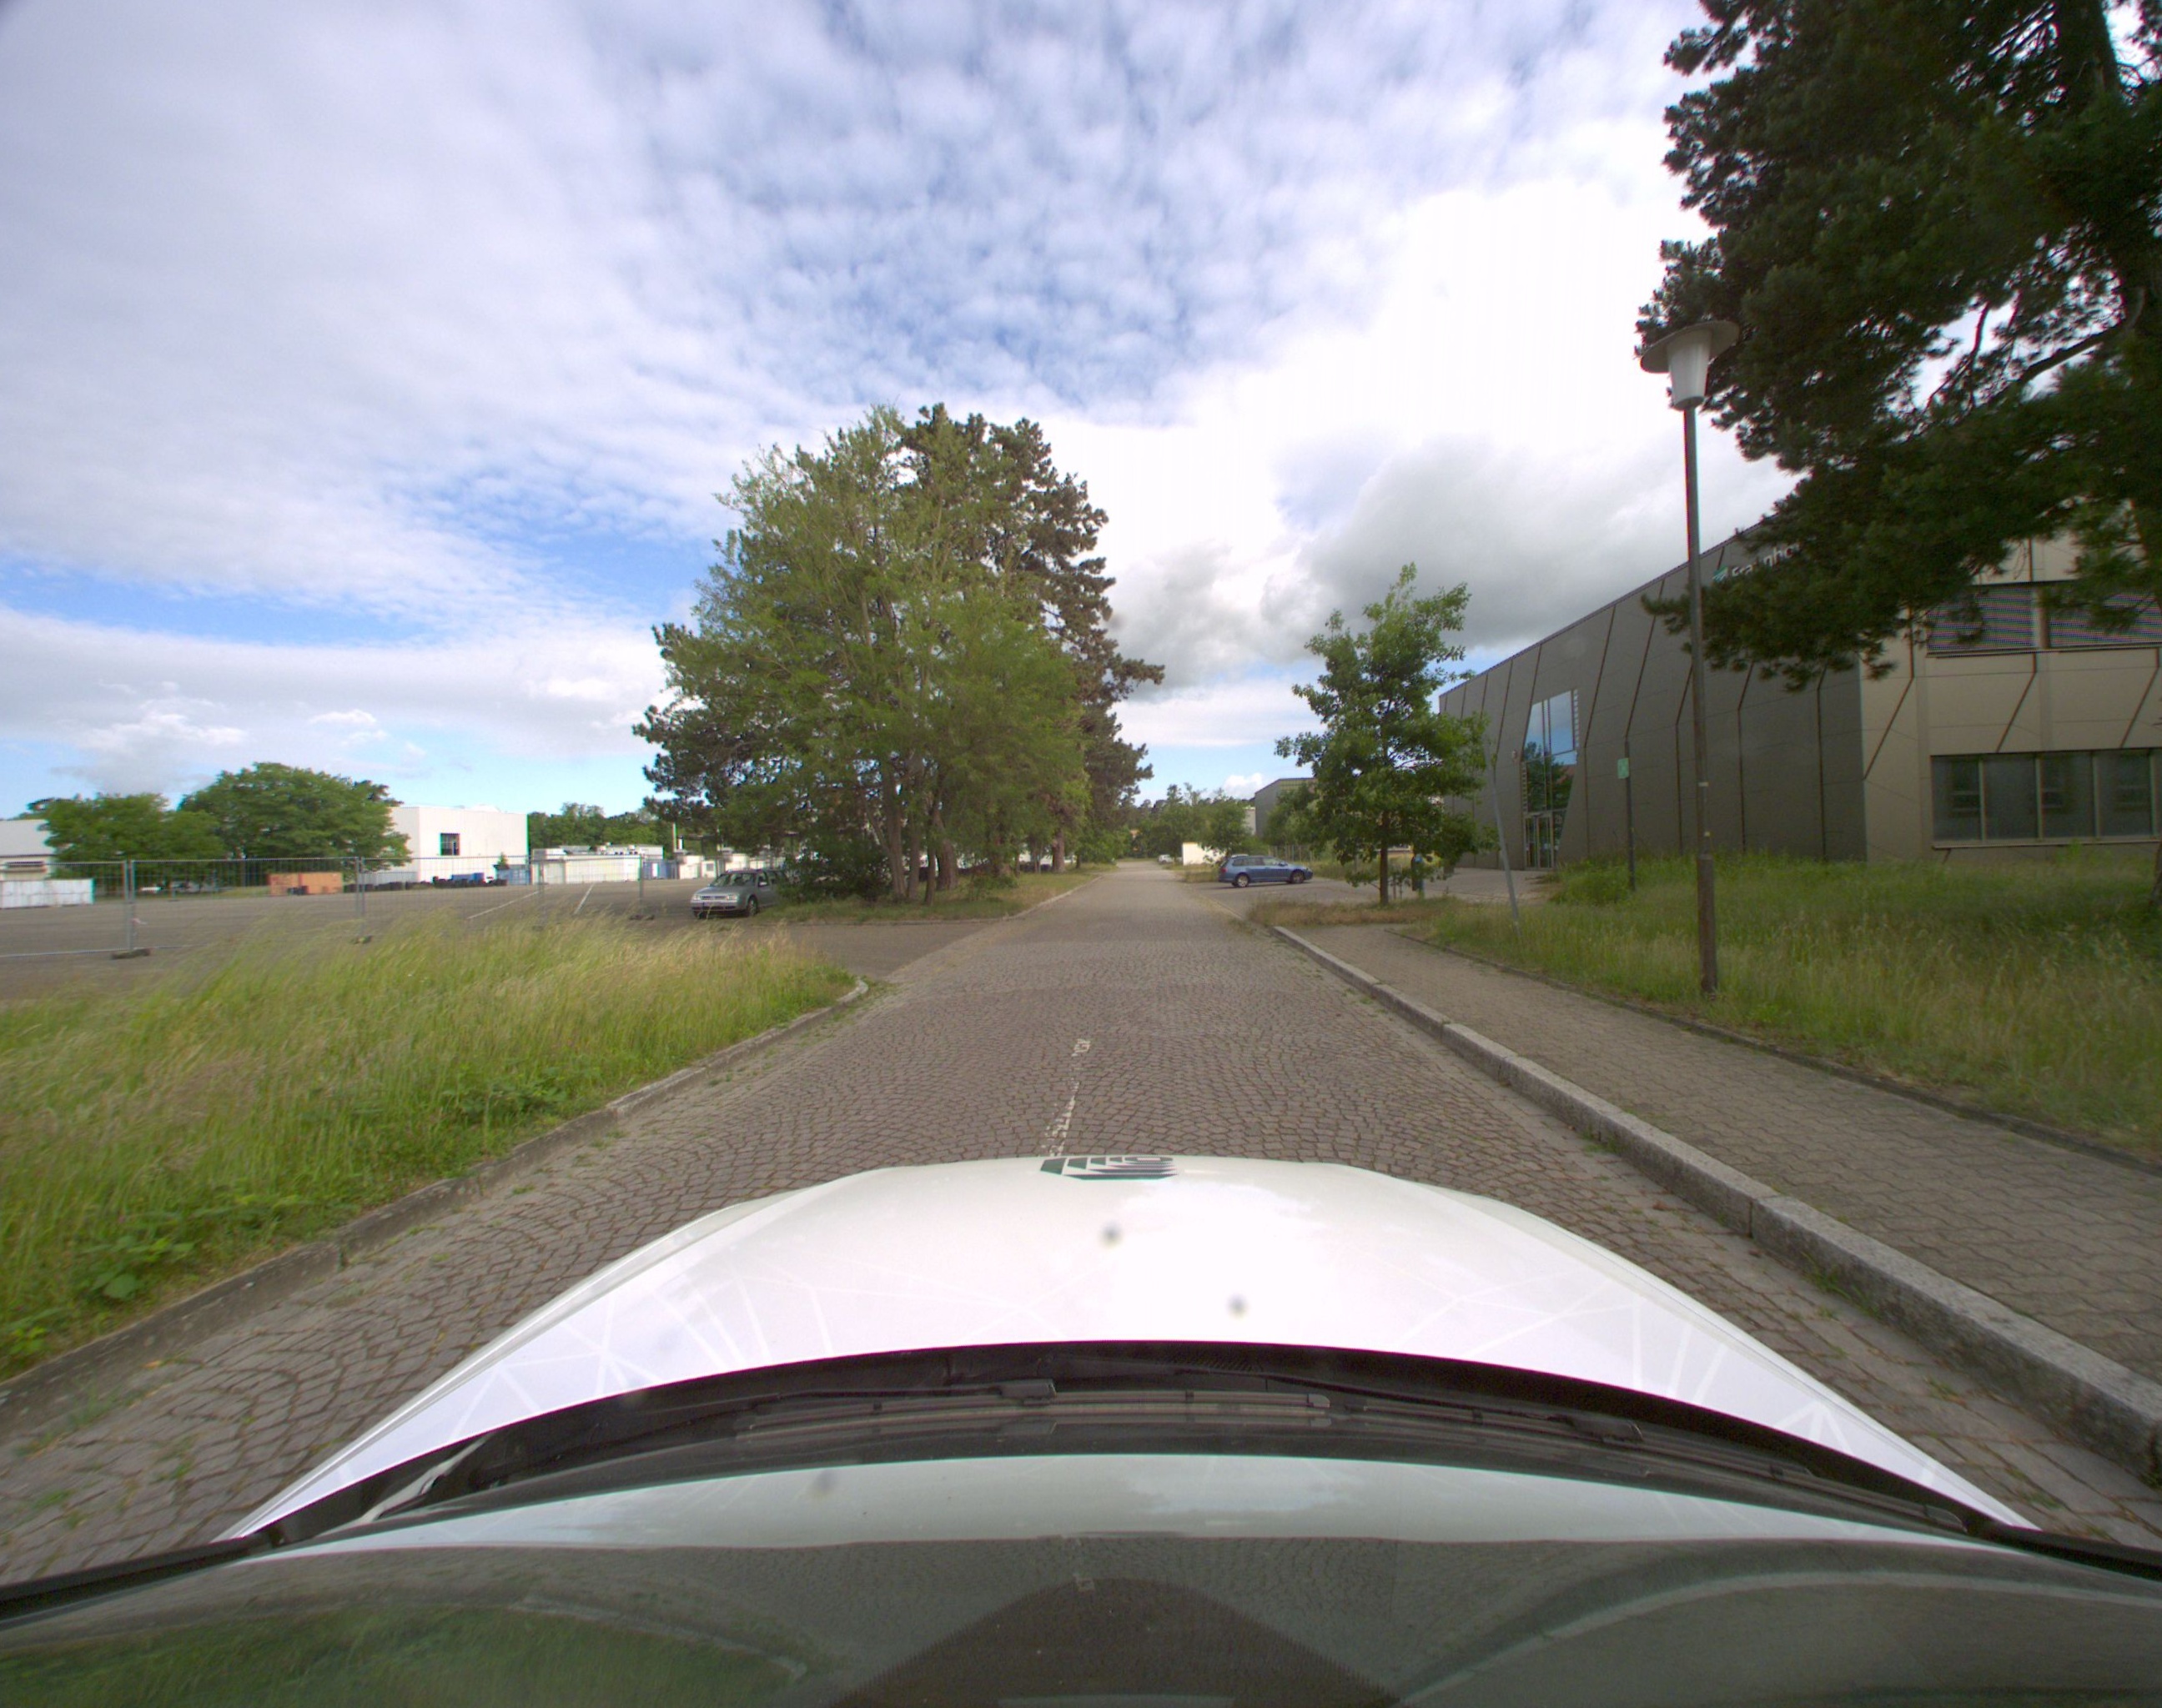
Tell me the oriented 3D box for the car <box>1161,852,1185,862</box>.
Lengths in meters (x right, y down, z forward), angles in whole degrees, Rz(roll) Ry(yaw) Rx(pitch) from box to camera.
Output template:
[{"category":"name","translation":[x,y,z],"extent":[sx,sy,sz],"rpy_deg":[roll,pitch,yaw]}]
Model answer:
[{"category":"car","translation":[17.352,0.522,153.776],"extent":[4.333,1.780,1.928],"rpy_deg":[-2,0,5]}]

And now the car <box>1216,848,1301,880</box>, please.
[{"category":"car","translation":[10.099,0.579,46.697],"extent":[4.497,1.531,2.003],"rpy_deg":[-3,0,4]}]

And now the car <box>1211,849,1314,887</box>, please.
[{"category":"car","translation":[8.722,0.654,39.432],"extent":[4.502,1.531,2.000],"rpy_deg":[-3,0,0]}]

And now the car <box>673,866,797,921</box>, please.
[{"category":"car","translation":[-10.778,1.183,25.790],"extent":[1.912,1.477,4.371],"rpy_deg":[-2,0,2]}]

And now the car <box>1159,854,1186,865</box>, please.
[{"category":"car","translation":[14.890,0.899,132.869],"extent":[4.336,1.687,1.927],"rpy_deg":[-2,0,3]}]
